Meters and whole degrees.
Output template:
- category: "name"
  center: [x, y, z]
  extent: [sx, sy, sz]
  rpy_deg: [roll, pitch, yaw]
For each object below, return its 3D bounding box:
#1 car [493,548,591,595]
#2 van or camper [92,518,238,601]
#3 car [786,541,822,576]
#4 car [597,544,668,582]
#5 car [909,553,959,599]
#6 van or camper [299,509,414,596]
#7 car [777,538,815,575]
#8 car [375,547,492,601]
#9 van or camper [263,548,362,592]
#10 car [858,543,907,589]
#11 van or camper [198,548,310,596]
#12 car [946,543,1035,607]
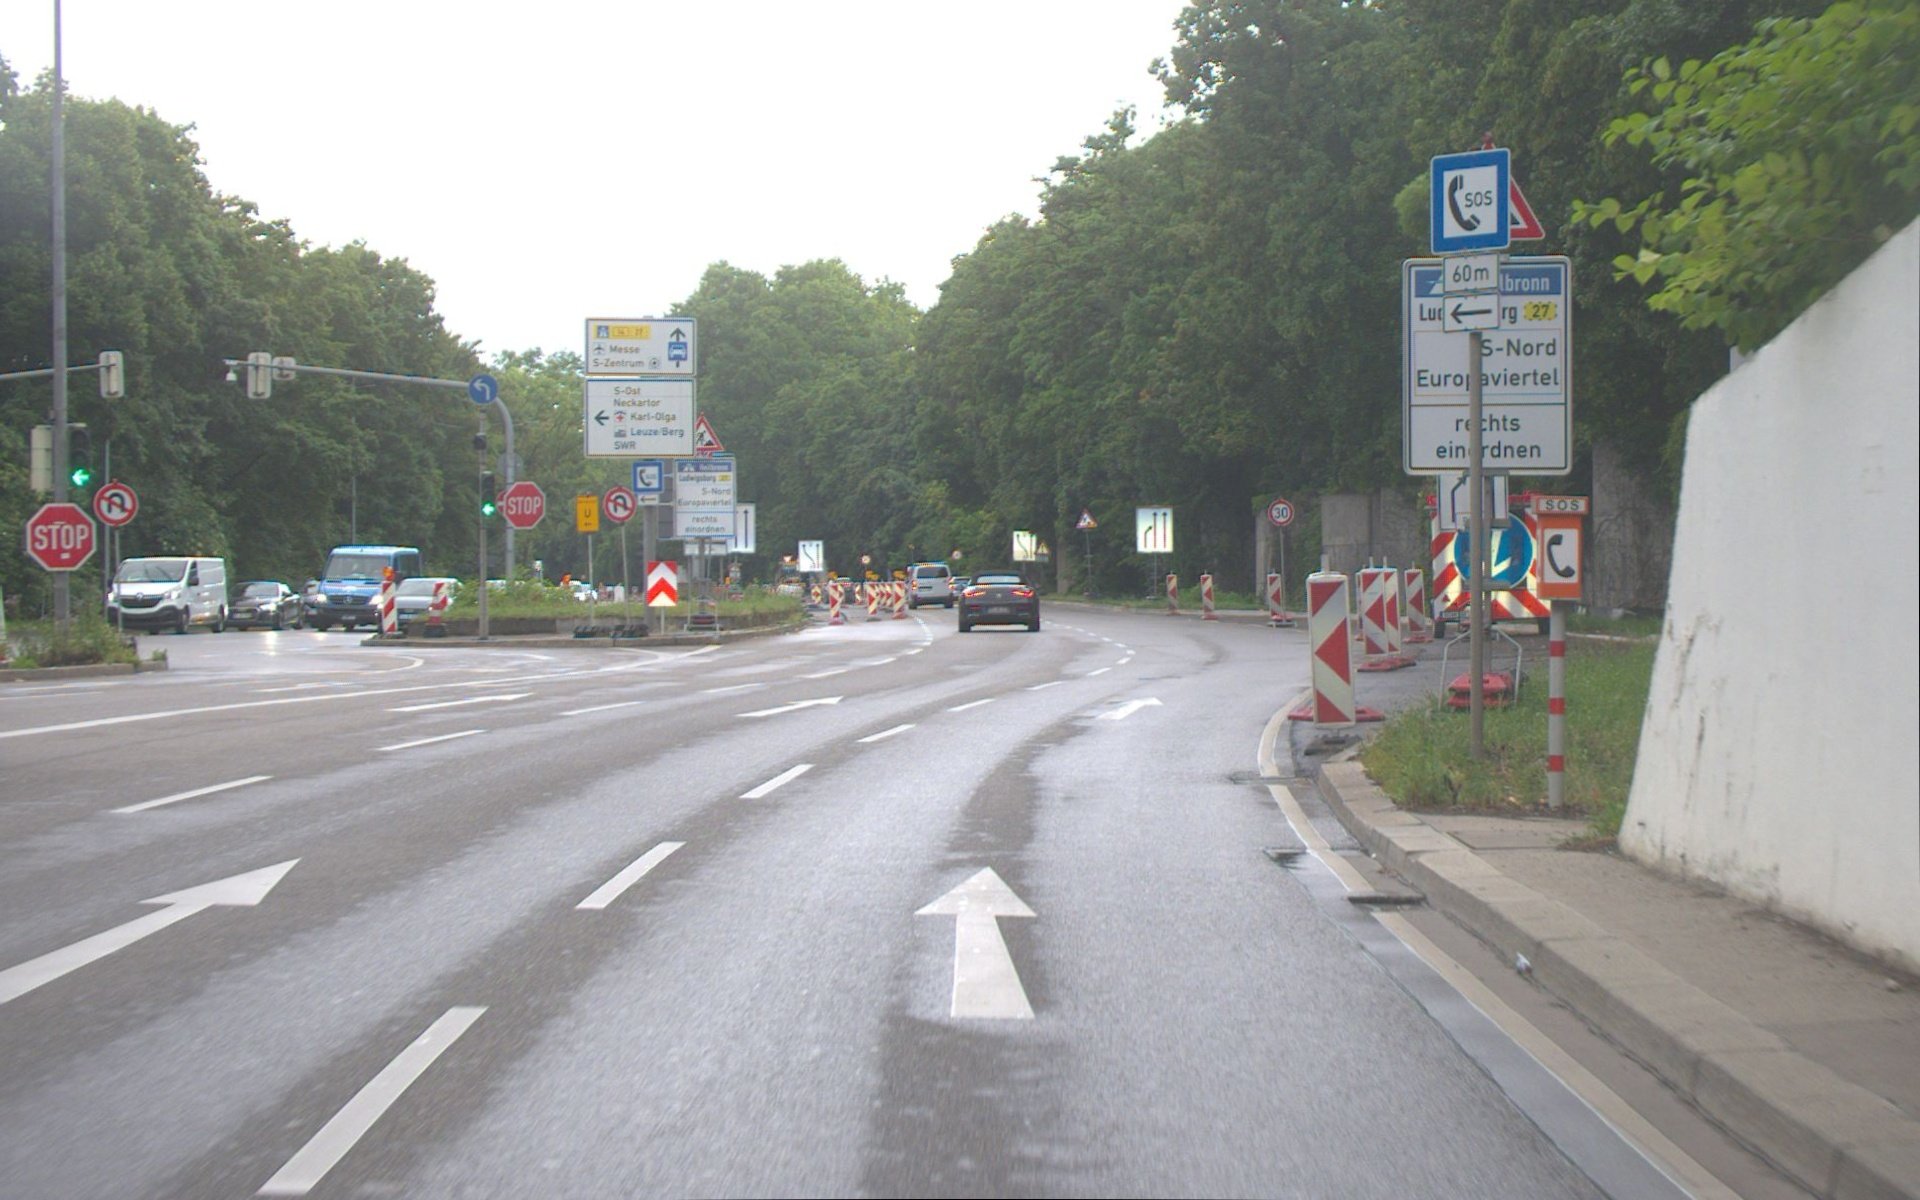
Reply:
- category: "car"
  center: [-11.765, -0.819, 96.996]
  extent: [2.009, 1.297, 4.315]
  rpy_deg: [0, 1, 4]
- category: "van or camper"
  center: [-19.817, -1.016, 85.916]
  extent: [2.129, 2.007, 5.314]
  rpy_deg: [0, 1, 4]
- category: "car"
  center: [-9.106, -2.447, 201.008]
  extent: [1.993, 2.007, 4.001]
  rpy_deg: [0, 1, -4]
- category: "car"
  center: [-11.289, -1.282, 118.610]
  extent: [2.009, 1.297, 4.316]
  rpy_deg: [0, 1, 0]
- category: "car"
  center: [-1.185, -1.095, 154.326]
  extent: [1.993, 2.007, 4.001]
  rpy_deg: [0, 1, -4]
- category: "van or camper"
  center: [-16.462, -1.297, 93.987]
  extent: [2.129, 2.340, 4.426]
  rpy_deg: [0, 1, 4]
- category: "car"
  center: [-8.938, -2.378, 187.066]
  extent: [1.993, 2.007, 4.001]
  rpy_deg: [0, 1, -4]
- category: "car"
  center: [-13.051, -0.659, 85.427]
  extent: [2.009, 1.297, 4.315]
  rpy_deg: [0, 1, 4]
- category: "van or camper"
  center: [-19.673, -0.917, 104.571]
  extent: [2.009, 1.297, 4.091]
  rpy_deg: [0, 1, 4]
- category: "car"
  center: [-3.490, -1.552, 153.951]
  extent: [1.993, 2.007, 4.001]
  rpy_deg: [0, 1, -4]
- category: "van or camper"
  center: [-19.448, -0.784, 94.866]
  extent: [2.009, 1.297, 4.091]
  rpy_deg: [0, 1, 4]
- category: "car"
  center: [0.733, -0.596, 79.308]
  extent: [1.993, 1.443, 4.314]
  rpy_deg: [0, 1, 1]
